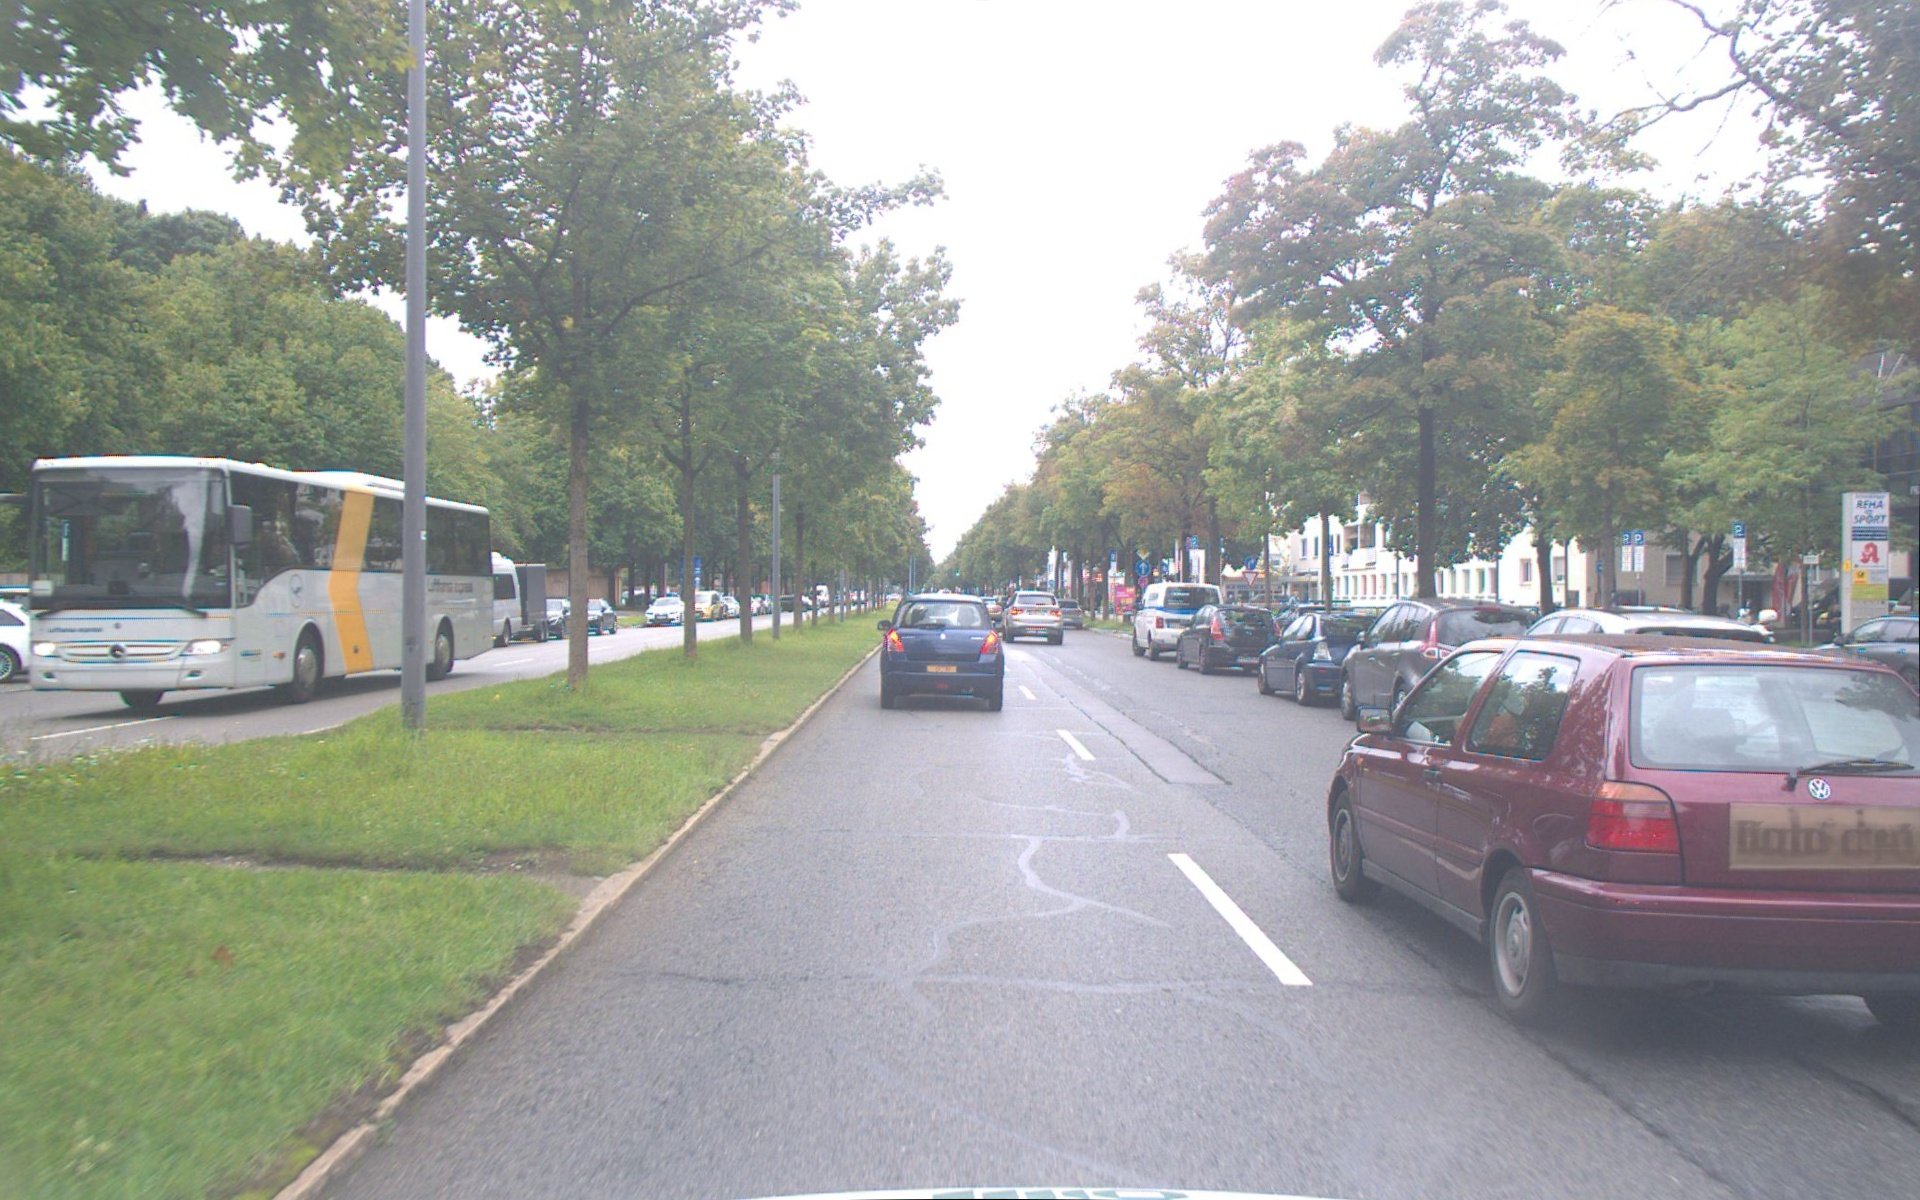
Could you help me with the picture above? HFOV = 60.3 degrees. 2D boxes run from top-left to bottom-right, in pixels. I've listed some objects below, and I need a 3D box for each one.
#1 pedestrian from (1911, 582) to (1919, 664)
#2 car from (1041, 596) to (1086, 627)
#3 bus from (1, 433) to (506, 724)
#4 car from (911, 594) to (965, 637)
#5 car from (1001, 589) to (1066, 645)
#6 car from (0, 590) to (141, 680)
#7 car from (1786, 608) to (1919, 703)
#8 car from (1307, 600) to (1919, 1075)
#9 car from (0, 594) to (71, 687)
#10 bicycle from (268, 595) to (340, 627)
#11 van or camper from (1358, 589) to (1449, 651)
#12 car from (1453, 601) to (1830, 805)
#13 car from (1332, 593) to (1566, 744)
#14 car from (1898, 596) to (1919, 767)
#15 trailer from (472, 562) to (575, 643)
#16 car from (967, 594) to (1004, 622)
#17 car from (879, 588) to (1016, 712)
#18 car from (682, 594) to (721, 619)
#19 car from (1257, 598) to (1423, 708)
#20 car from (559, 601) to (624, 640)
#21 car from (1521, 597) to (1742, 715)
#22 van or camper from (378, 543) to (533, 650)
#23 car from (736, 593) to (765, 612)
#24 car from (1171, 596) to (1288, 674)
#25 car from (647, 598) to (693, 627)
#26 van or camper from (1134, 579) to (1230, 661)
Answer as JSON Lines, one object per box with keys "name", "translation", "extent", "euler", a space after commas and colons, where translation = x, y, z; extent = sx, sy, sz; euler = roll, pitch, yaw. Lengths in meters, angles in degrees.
{"name": "pedestrian", "translation": [20.652, 0.489, 34.950], "extent": [0.732, 1.736, 0.702], "euler": [0, 0, -1]}
{"name": "car", "translation": [5.055, 0.543, 81.079], "extent": [1.813, 1.472, 4.096], "euler": [0, 0, -2]}
{"name": "bus", "translation": [-10.135, -0.295, 25.877], "extent": [2.682, 3.436, 12.012], "euler": [-1, 0, 0]}
{"name": "car", "translation": [-0.803, 0.537, 58.990], "extent": [1.813, 1.472, 4.096], "euler": [0, 0, -2]}
{"name": "car", "translation": [2.374, 0.530, 54.336], "extent": [1.813, 1.773, 4.096], "euler": [0, 0, -2]}
{"name": "car", "translation": [-18.193, 0.649, 31.967], "extent": [4.059, 1.681, 1.896], "euler": [0, 0, -34]}
{"name": "car", "translation": [15.898, 0.899, 27.671], "extent": [1.651, 1.460, 4.378], "euler": [0, 0, -5]}
{"name": "car", "translation": [2.765, 0.755, 7.222], "extent": [1.589, 1.479, 3.949], "euler": [0, 0, -1]}
{"name": "car", "translation": [-17.981, 0.696, 29.008], "extent": [4.059, 1.612, 1.896], "euler": [0, 0, -34]}
{"name": "bicycle", "translation": [-25.075, 0.419, 63.210], "extent": [2.448, 1.164, 0.723], "euler": [2, 0, 1]}
{"name": "van or camper", "translation": [14.806, 0.637, 55.392], "extent": [1.905, 2.009, 4.306], "euler": [0, 0, 0]}
{"name": "car", "translation": [6.087, 0.821, 15.398], "extent": [1.650, 1.552, 4.455], "euler": [2, 0, 0]}
{"name": "car", "translation": [6.002, 0.763, 20.819], "extent": [1.650, 1.654, 4.306], "euler": [2, 0, 0]}
{"name": "car", "translation": [10.164, 0.806, 14.024], "extent": [1.650, 1.661, 4.779], "euler": [0, 0, -1]}
{"name": "trailer", "translation": [-14.739, 0.067, 56.158], "extent": [2.063, 2.585, 5.576], "euler": [0, 0, 0]}
{"name": "car", "translation": [1.393, 0.427, 92.254], "extent": [1.813, 1.472, 4.096], "euler": [0, 0, -2]}
{"name": "car", "translation": [-0.234, 0.639, 23.240], "extent": [1.753, 1.583, 3.998], "euler": [0, 0, -2]}
{"name": "car", "translation": [-15.291, 0.369, 97.994], "extent": [1.813, 1.472, 4.096], "euler": [0, 0, -2]}
{"name": "car", "translation": [5.913, 0.765, 26.215], "extent": [1.649, 1.581, 4.306], "euler": [0, 0, 0]}
{"name": "car", "translation": [-14.702, 0.796, 66.142], "extent": [1.813, 1.472, 4.096], "euler": [0, 0, -2]}
{"name": "car", "translation": [9.986, 0.778, 24.937], "extent": [1.650, 1.613, 4.027], "euler": [0, 0, -1]}
{"name": "van or camper", "translation": [-14.477, -0.115, 48.065], "extent": [2.262, 2.883, 7.492], "euler": [0, 0, 0]}
{"name": "car", "translation": [-16.146, 0.185, 127.626], "extent": [1.813, 1.472, 4.096], "euler": [0, 0, -2]}
{"name": "car", "translation": [5.848, 0.718, 36.315], "extent": [1.651, 1.581, 4.303], "euler": [0, 0, -3]}
{"name": "car", "translation": [-15.272, 0.630, 87.243], "extent": [1.813, 1.472, 4.096], "euler": [0, 0, -2]}
{"name": "van or camper", "translation": [5.697, 0.483, 42.872], "extent": [1.905, 2.009, 4.306], "euler": [0, 0, 0]}
